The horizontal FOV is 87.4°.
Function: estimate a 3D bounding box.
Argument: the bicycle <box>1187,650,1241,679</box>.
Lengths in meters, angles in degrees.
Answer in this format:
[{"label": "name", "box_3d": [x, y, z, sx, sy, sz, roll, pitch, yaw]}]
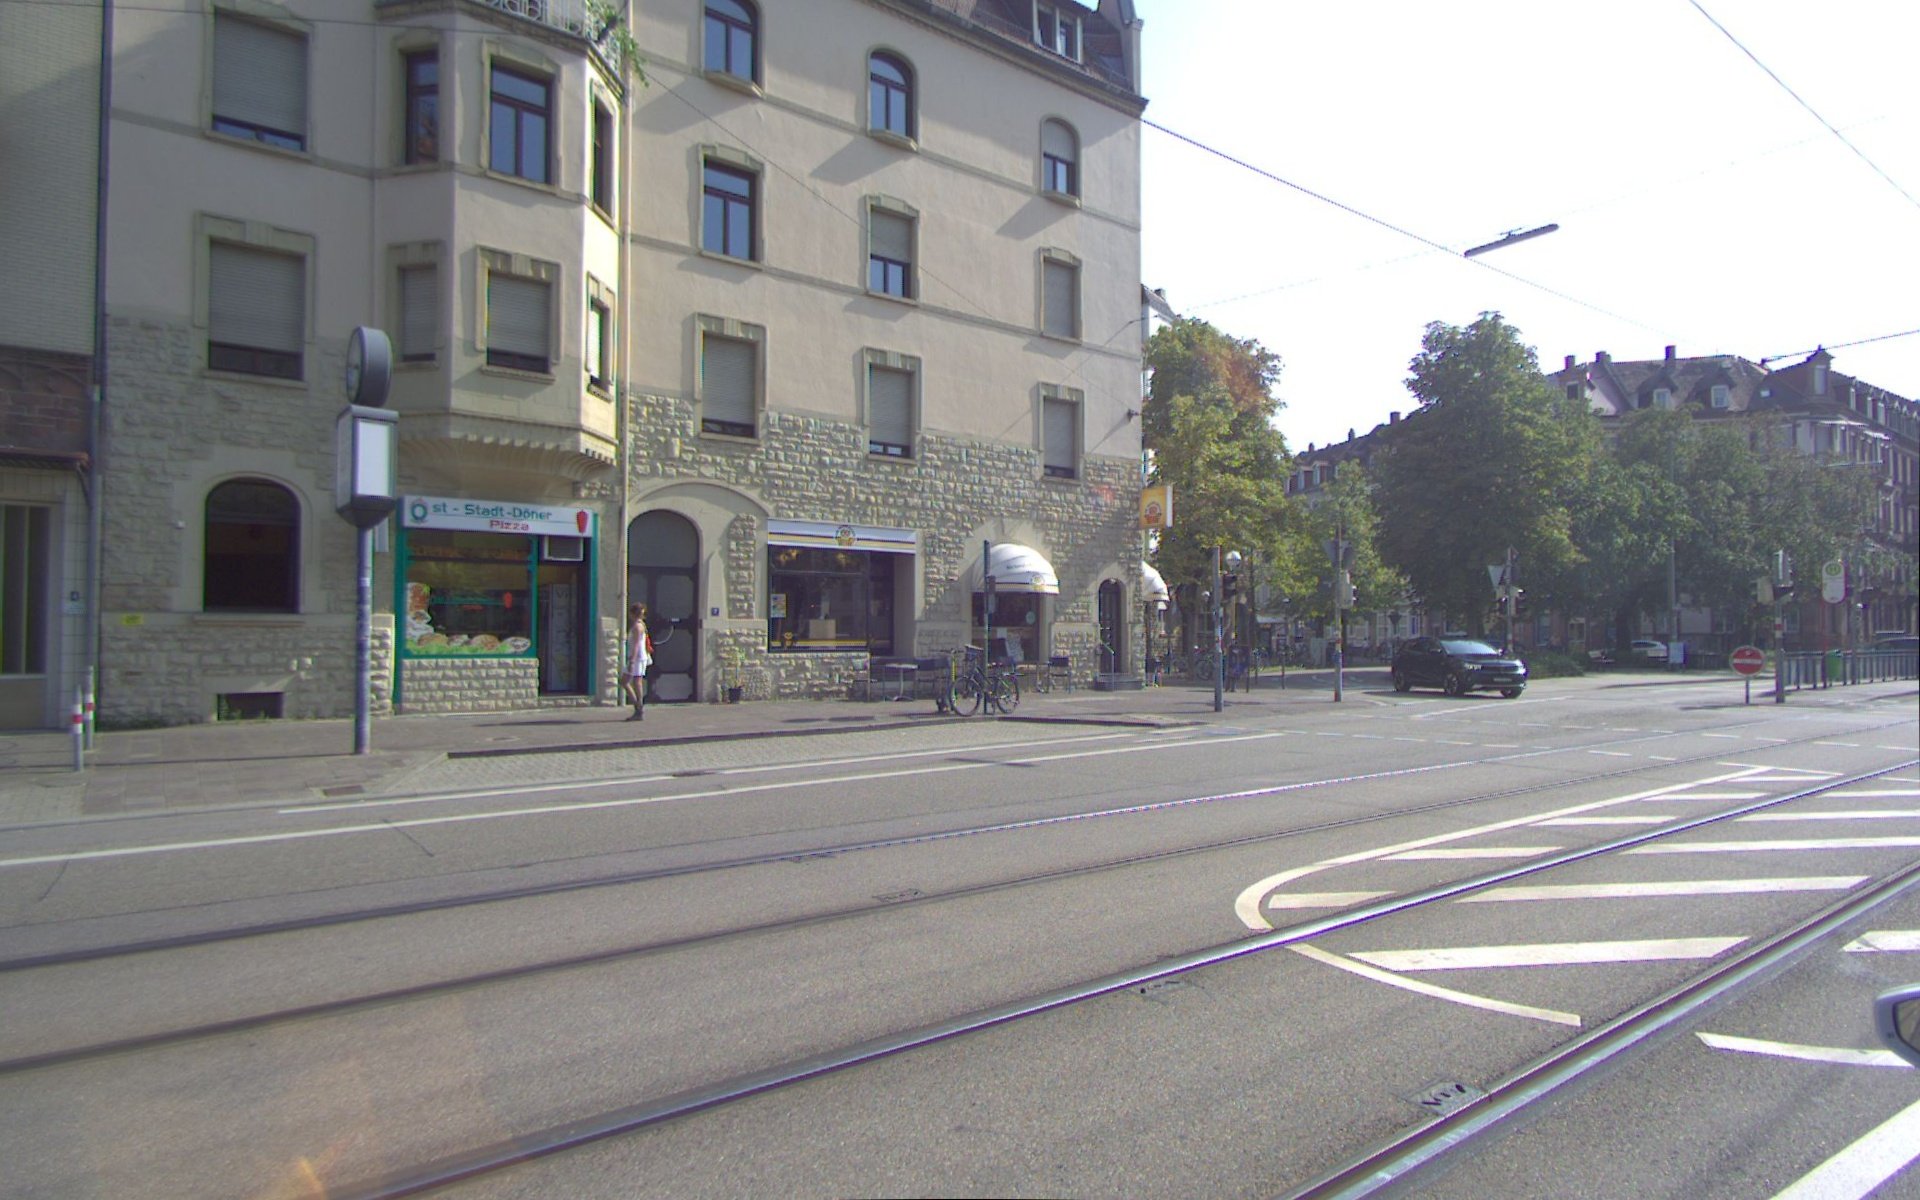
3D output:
[{"label": "bicycle", "box_3d": [9.279, 2.352, 36.750, 1.841, 1.017, 0.570, 1, -2, 1]}]

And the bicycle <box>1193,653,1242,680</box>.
[{"label": "bicycle", "box_3d": [9.048, 2.338, 35.287, 1.578, 0.932, 0.479, 1, -2, -5]}]

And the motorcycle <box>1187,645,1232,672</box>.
[{"label": "motorcycle", "box_3d": [11.029, 2.579, 44.426, 1.838, 1.169, 0.607, 0, -2, 22]}]

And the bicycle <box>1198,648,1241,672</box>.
[{"label": "bicycle", "box_3d": [11.701, 2.713, 45.289, 1.842, 1.041, 0.664, 0, -2, 22]}]

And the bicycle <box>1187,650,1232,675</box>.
[{"label": "bicycle", "box_3d": [10.122, 2.531, 40.804, 1.768, 0.996, 0.661, 0, -2, 14]}]

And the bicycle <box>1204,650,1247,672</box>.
[{"label": "bicycle", "box_3d": [12.266, 2.811, 46.435, 1.875, 0.947, 0.738, 0, -2, 21]}]

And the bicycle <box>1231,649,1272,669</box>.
[{"label": "bicycle", "box_3d": [14.585, 2.954, 50.262, 1.849, 0.947, 0.636, -1, -3, 38]}]

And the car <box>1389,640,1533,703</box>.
[{"label": "car", "box_3d": [13.510, 1.876, 27.389, 1.581, 1.535, 4.227, -1, -2, -4]}]

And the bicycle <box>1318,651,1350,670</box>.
[{"label": "bicycle", "box_3d": [20.927, 3.371, 56.248, 0.597, 0.990, 1.758, 1, -2, -27]}]

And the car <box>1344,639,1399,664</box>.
[{"label": "car", "box_3d": [31.439, 3.904, 76.898, 1.966, 1.852, 3.991, 1, -2, -13]}]

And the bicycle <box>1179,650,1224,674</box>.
[{"label": "bicycle", "box_3d": [10.055, 2.573, 41.816, 1.768, 0.989, 0.661, 0, -2, 14]}]

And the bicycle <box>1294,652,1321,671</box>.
[{"label": "bicycle", "box_3d": [18.626, 3.275, 53.789, 1.753, 0.990, 0.421, 2, -3, -36]}]

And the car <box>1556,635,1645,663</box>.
[{"label": "car", "box_3d": [37.604, 2.888, 59.125, 4.258, 1.589, 1.997, -1, -2, 29]}]

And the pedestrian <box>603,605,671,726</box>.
[{"label": "pedestrian", "box_3d": [-5.202, 1.042, 16.192, 0.823, 1.884, 0.768, 2, -2, -37]}]

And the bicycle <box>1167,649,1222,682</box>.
[{"label": "bicycle", "box_3d": [8.372, 2.343, 35.893, 1.847, 1.127, 0.568, 1, -2, -15]}]

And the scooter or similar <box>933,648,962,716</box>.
[{"label": "scooter or similar", "box_3d": [-0.225, 1.500, 18.651, 0.359, 1.213, 1.035, 0, -2, 9]}]

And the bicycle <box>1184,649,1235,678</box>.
[{"label": "bicycle", "box_3d": [9.506, 2.403, 38.229, 1.840, 1.047, 0.570, 0, -2, 16]}]

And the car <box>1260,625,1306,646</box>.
[{"label": "car", "box_3d": [30.044, 3.327, 93.556, 1.971, 1.852, 3.980, 1, -2, -22]}]

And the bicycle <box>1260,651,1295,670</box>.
[{"label": "bicycle", "box_3d": [17.310, 3.278, 54.811, 1.740, 0.990, 0.604, -2, -2, 32]}]

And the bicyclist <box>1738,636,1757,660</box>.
[{"label": "bicyclist", "box_3d": [45.541, 2.777, 58.104, 0.808, 1.345, 0.547, -2, -2, 35]}]

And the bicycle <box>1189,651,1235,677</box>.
[{"label": "bicycle", "box_3d": [9.930, 2.508, 39.605, 1.768, 0.997, 0.570, 0, -2, 14]}]

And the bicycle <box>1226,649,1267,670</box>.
[{"label": "bicycle", "box_3d": [13.948, 2.883, 48.833, 1.864, 0.993, 0.686, 0, -2, 22]}]

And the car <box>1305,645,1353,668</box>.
[{"label": "car", "box_3d": [31.866, 4.872, 86.857, 1.966, 1.852, 3.991, 1, -2, -13]}]

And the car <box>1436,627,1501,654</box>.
[{"label": "car", "box_3d": [35.537, 2.824, 70.333, 1.966, 1.852, 3.991, 1, -2, -13]}]

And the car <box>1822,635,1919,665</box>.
[{"label": "car", "box_3d": [50.562, 2.747, 55.317, 4.250, 1.589, 2.001, -1, -2, 19]}]

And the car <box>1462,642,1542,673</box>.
[{"label": "car", "box_3d": [34.116, 3.608, 63.291, 1.977, 1.852, 3.968, 1, -2, -31]}]

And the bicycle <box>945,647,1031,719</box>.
[{"label": "bicycle", "box_3d": [0.528, 1.502, 18.488, 0.448, 1.242, 1.845, -2, -3, 45]}]

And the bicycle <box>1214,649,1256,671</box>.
[{"label": "bicycle", "box_3d": [13.051, 2.841, 47.753, 1.864, 0.993, 0.686, 0, -2, 22]}]

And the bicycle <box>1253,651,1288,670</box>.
[{"label": "bicycle", "box_3d": [16.761, 3.260, 54.251, 1.740, 0.990, 0.518, -2, -2, 34]}]

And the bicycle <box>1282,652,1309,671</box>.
[{"label": "bicycle", "box_3d": [17.949, 3.264, 53.755, 1.753, 0.990, 0.421, 2, -3, -36]}]

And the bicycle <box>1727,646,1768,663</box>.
[{"label": "bicycle", "box_3d": [45.540, 3.150, 58.082, 1.826, 0.970, 0.547, -2, -3, 36]}]
